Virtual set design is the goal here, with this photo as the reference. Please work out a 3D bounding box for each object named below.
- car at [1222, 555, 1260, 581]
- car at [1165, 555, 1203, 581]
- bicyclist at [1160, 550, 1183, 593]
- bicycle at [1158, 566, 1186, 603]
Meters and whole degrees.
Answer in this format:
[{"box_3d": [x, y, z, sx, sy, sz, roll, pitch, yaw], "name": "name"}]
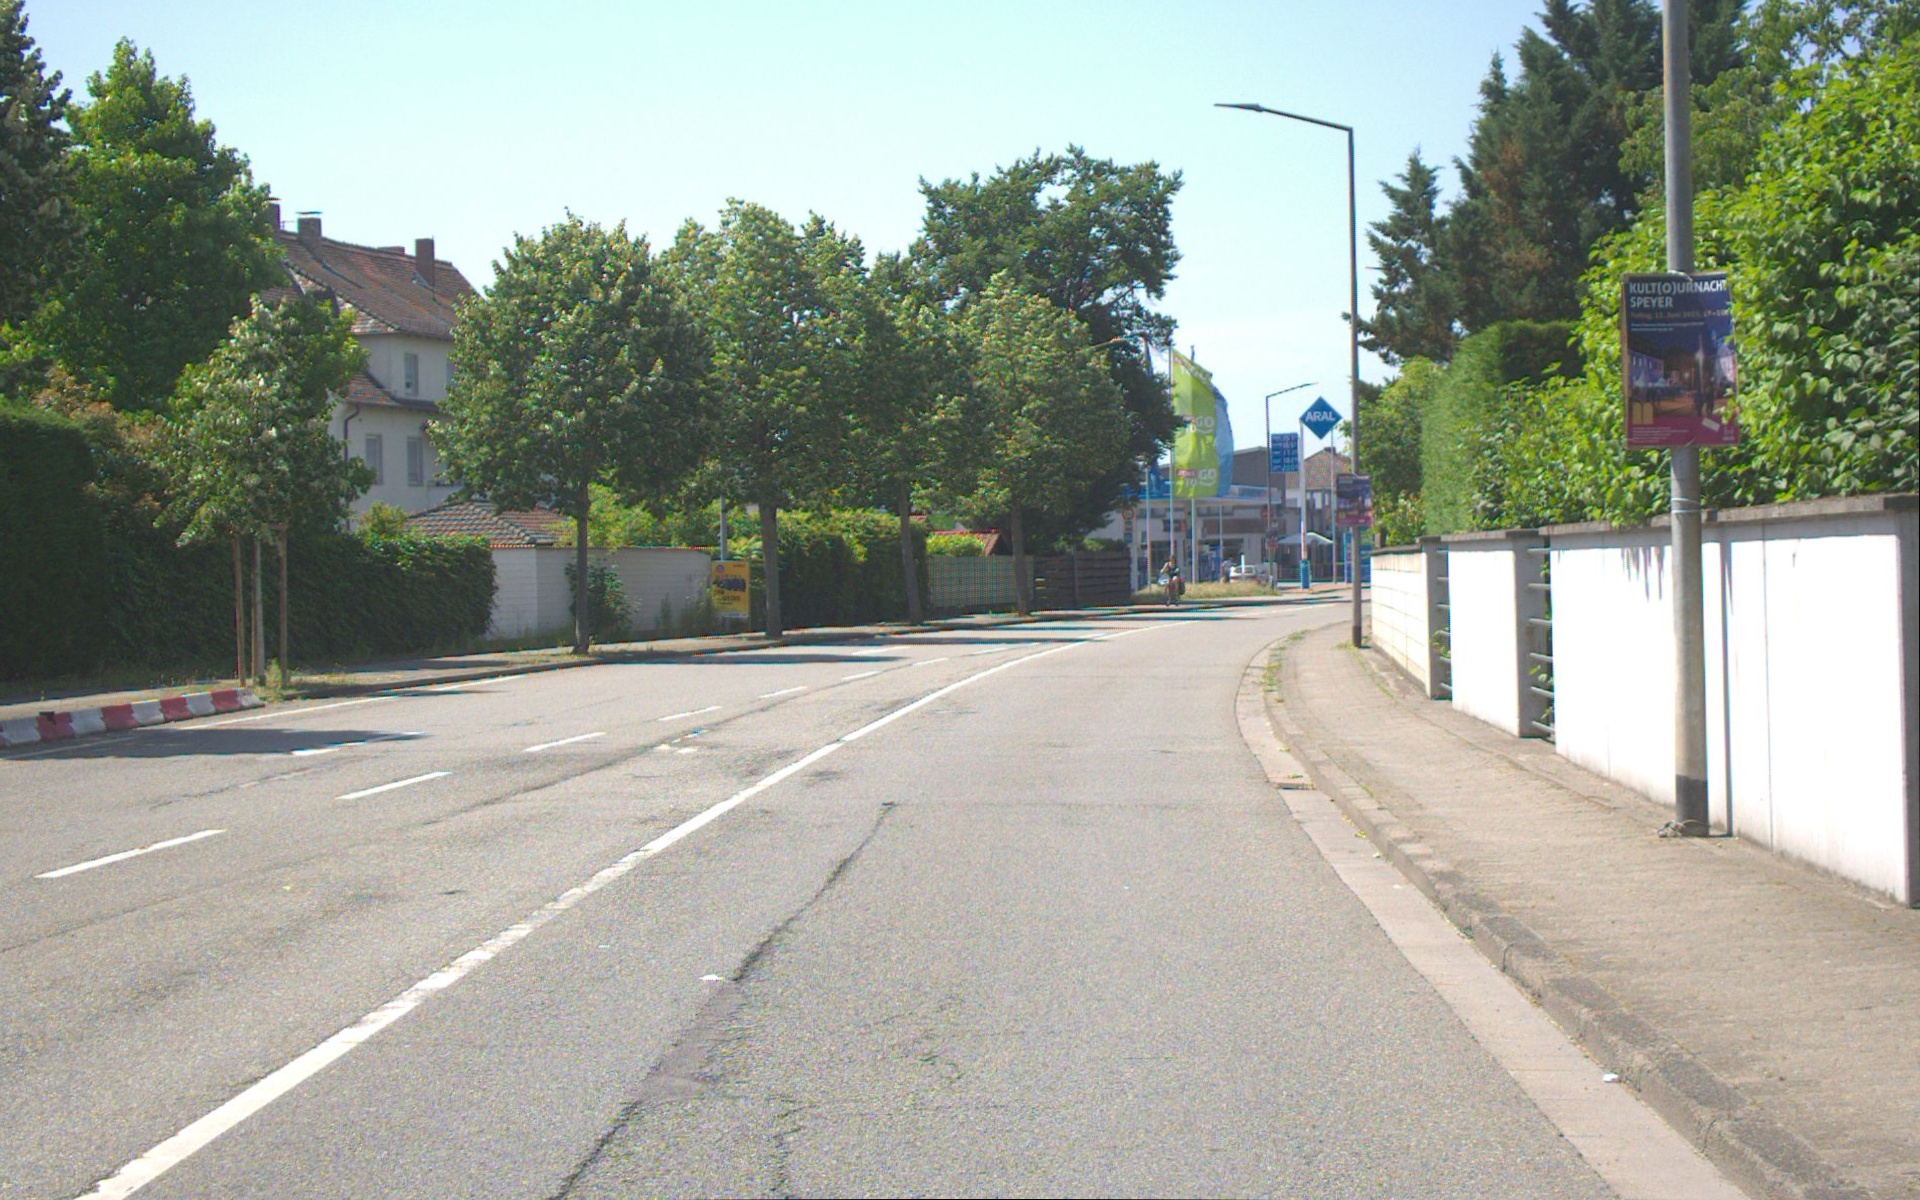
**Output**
[{"box_3d": [16.077, -1.846, 196.647, 1.618, 1.415, 3.710, -3, 0, 12], "name": "car"}, {"box_3d": [12.849, -1.840, 197.075, 1.618, 1.415, 3.710, -3, 0, 12], "name": "car"}, {"box_3d": [7.004, -0.950, 113.657, 0.628, 1.404, 0.676, -1, 0, 12], "name": "bicyclist"}, {"box_3d": [7.027, -0.514, 113.741, 0.632, 1.176, 1.815, -1, 0, 12], "name": "bicycle"}]
